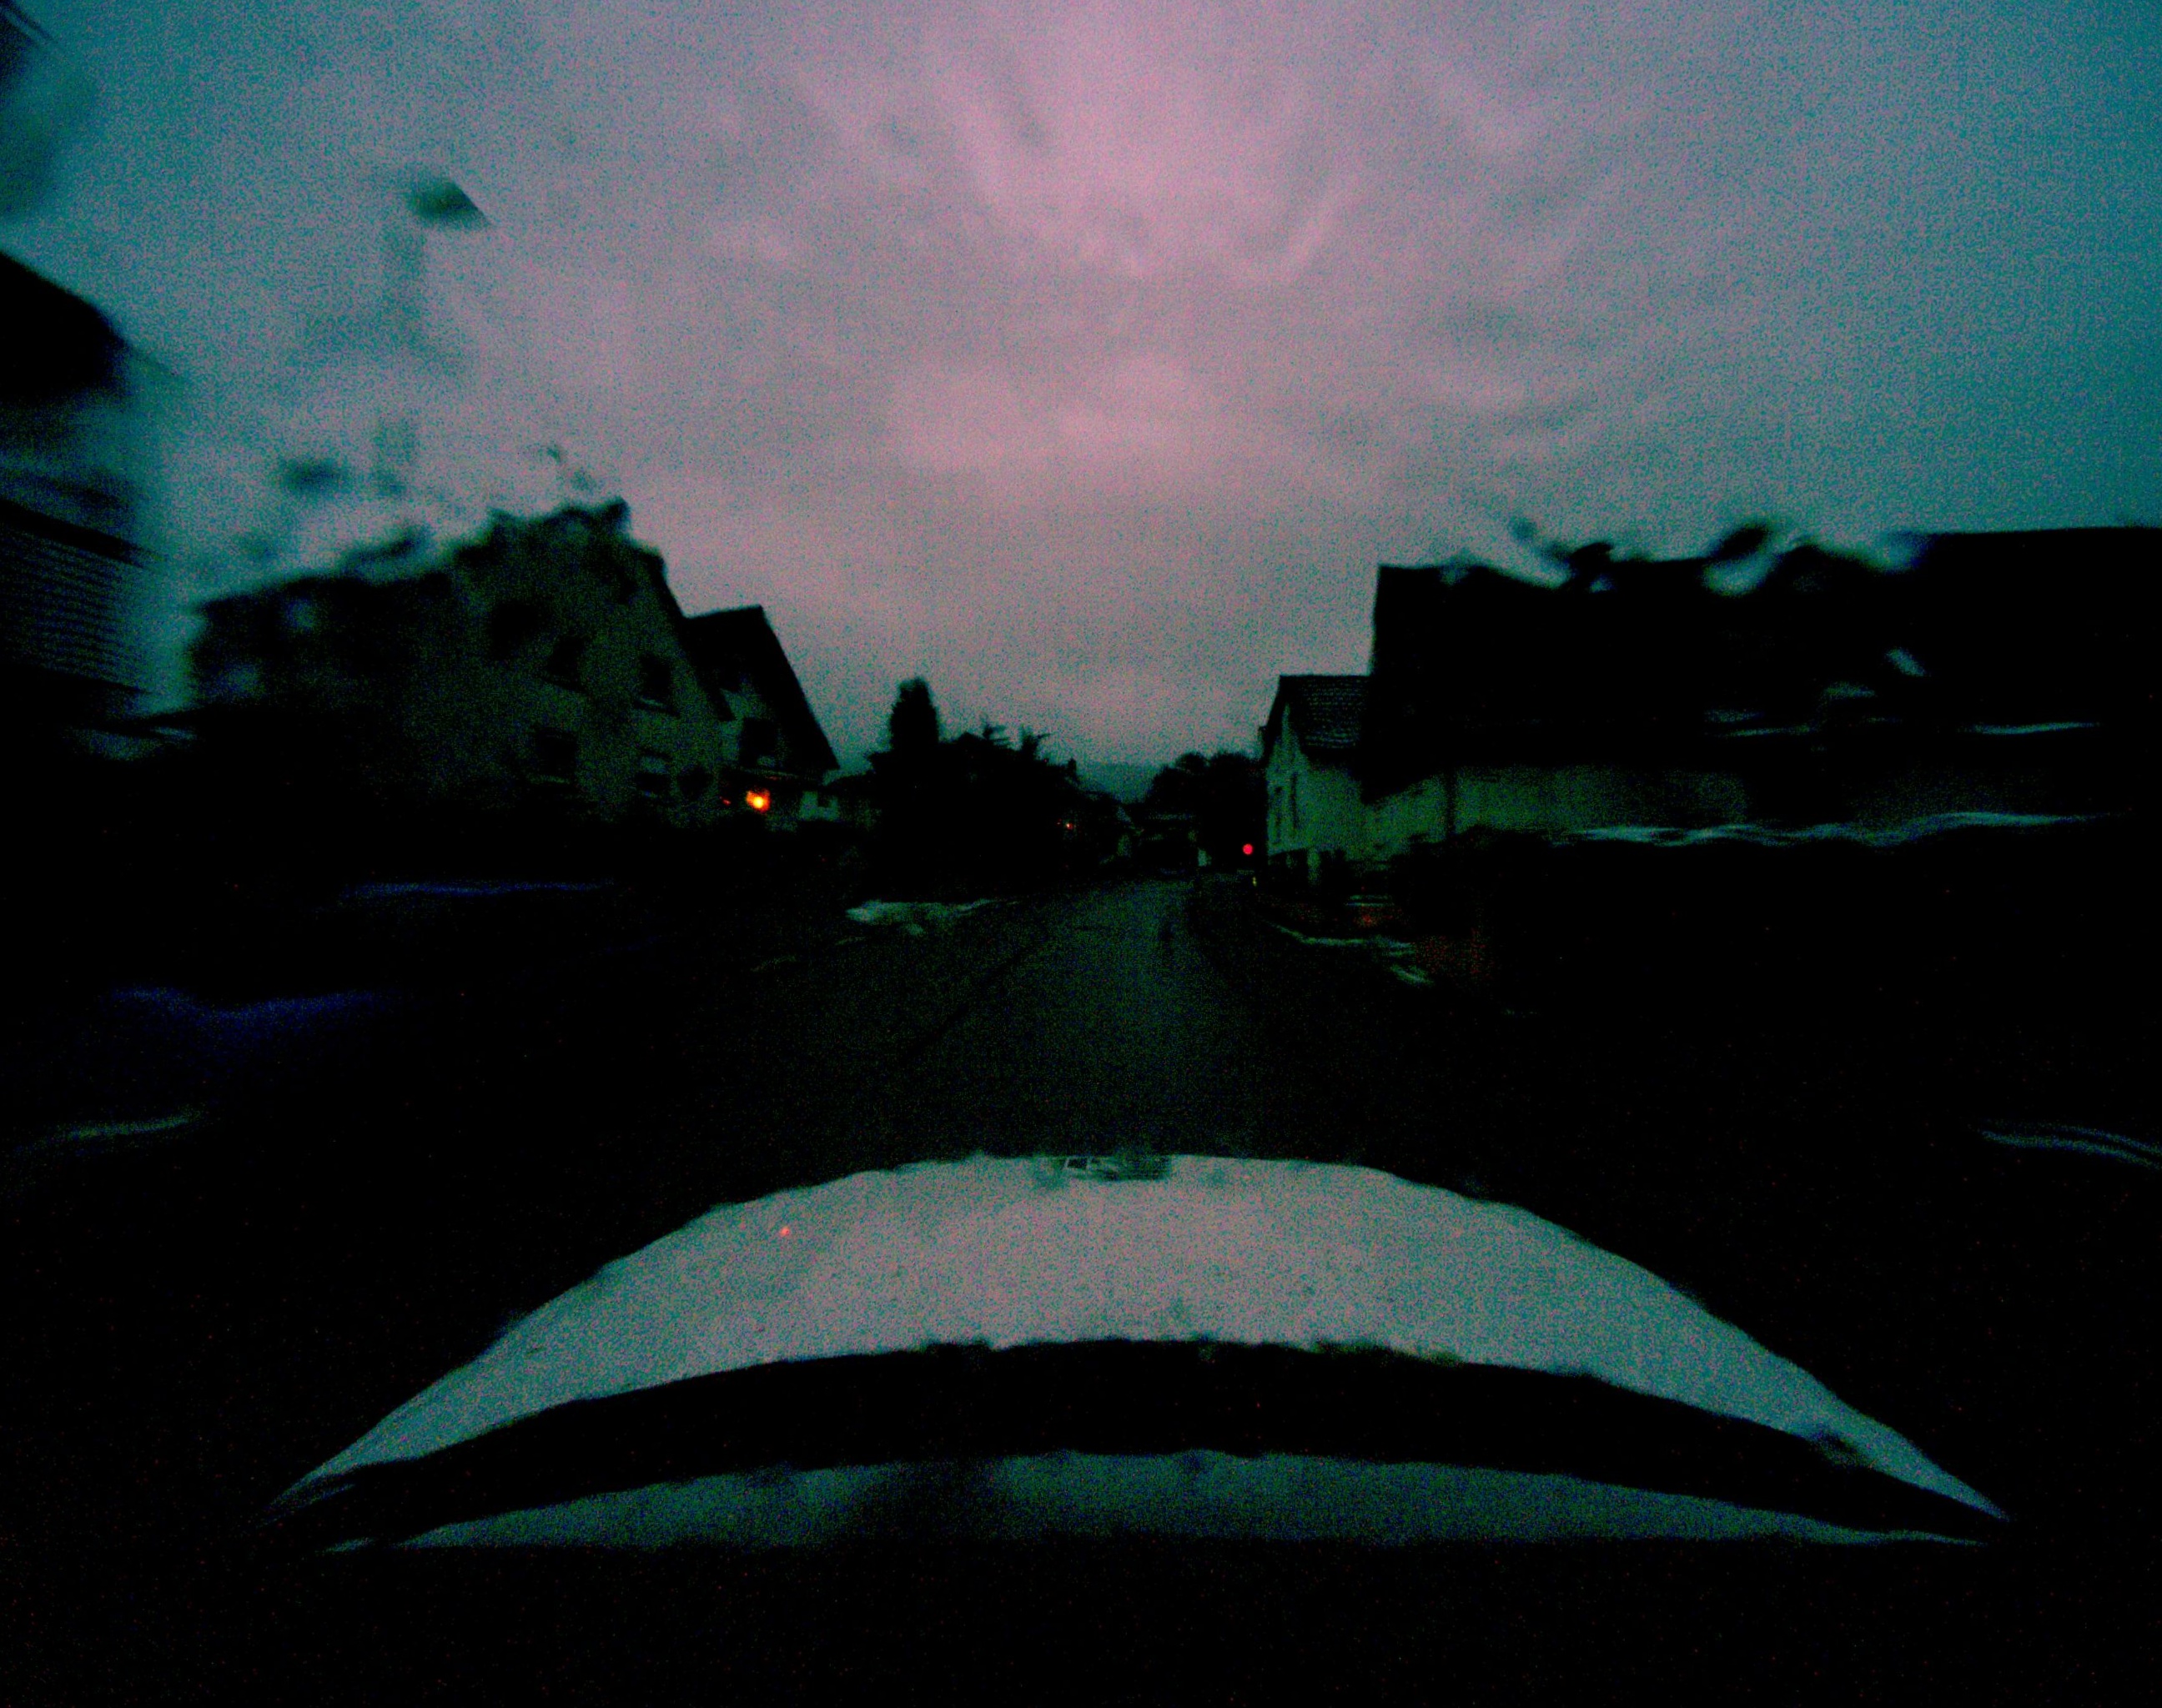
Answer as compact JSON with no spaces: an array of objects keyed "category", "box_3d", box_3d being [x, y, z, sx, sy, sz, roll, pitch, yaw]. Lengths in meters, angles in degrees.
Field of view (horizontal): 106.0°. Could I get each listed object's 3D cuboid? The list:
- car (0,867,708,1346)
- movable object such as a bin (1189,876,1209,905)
[{"category":"car","box_3d":[-3.892,0.827,4.528,1.661,1.410,3.917,0,0,3]},{"category":"movable object such as a bin","box_3d":[4.095,1.264,28.283,0.610,0.946,0.596,-4,-3,9]}]
